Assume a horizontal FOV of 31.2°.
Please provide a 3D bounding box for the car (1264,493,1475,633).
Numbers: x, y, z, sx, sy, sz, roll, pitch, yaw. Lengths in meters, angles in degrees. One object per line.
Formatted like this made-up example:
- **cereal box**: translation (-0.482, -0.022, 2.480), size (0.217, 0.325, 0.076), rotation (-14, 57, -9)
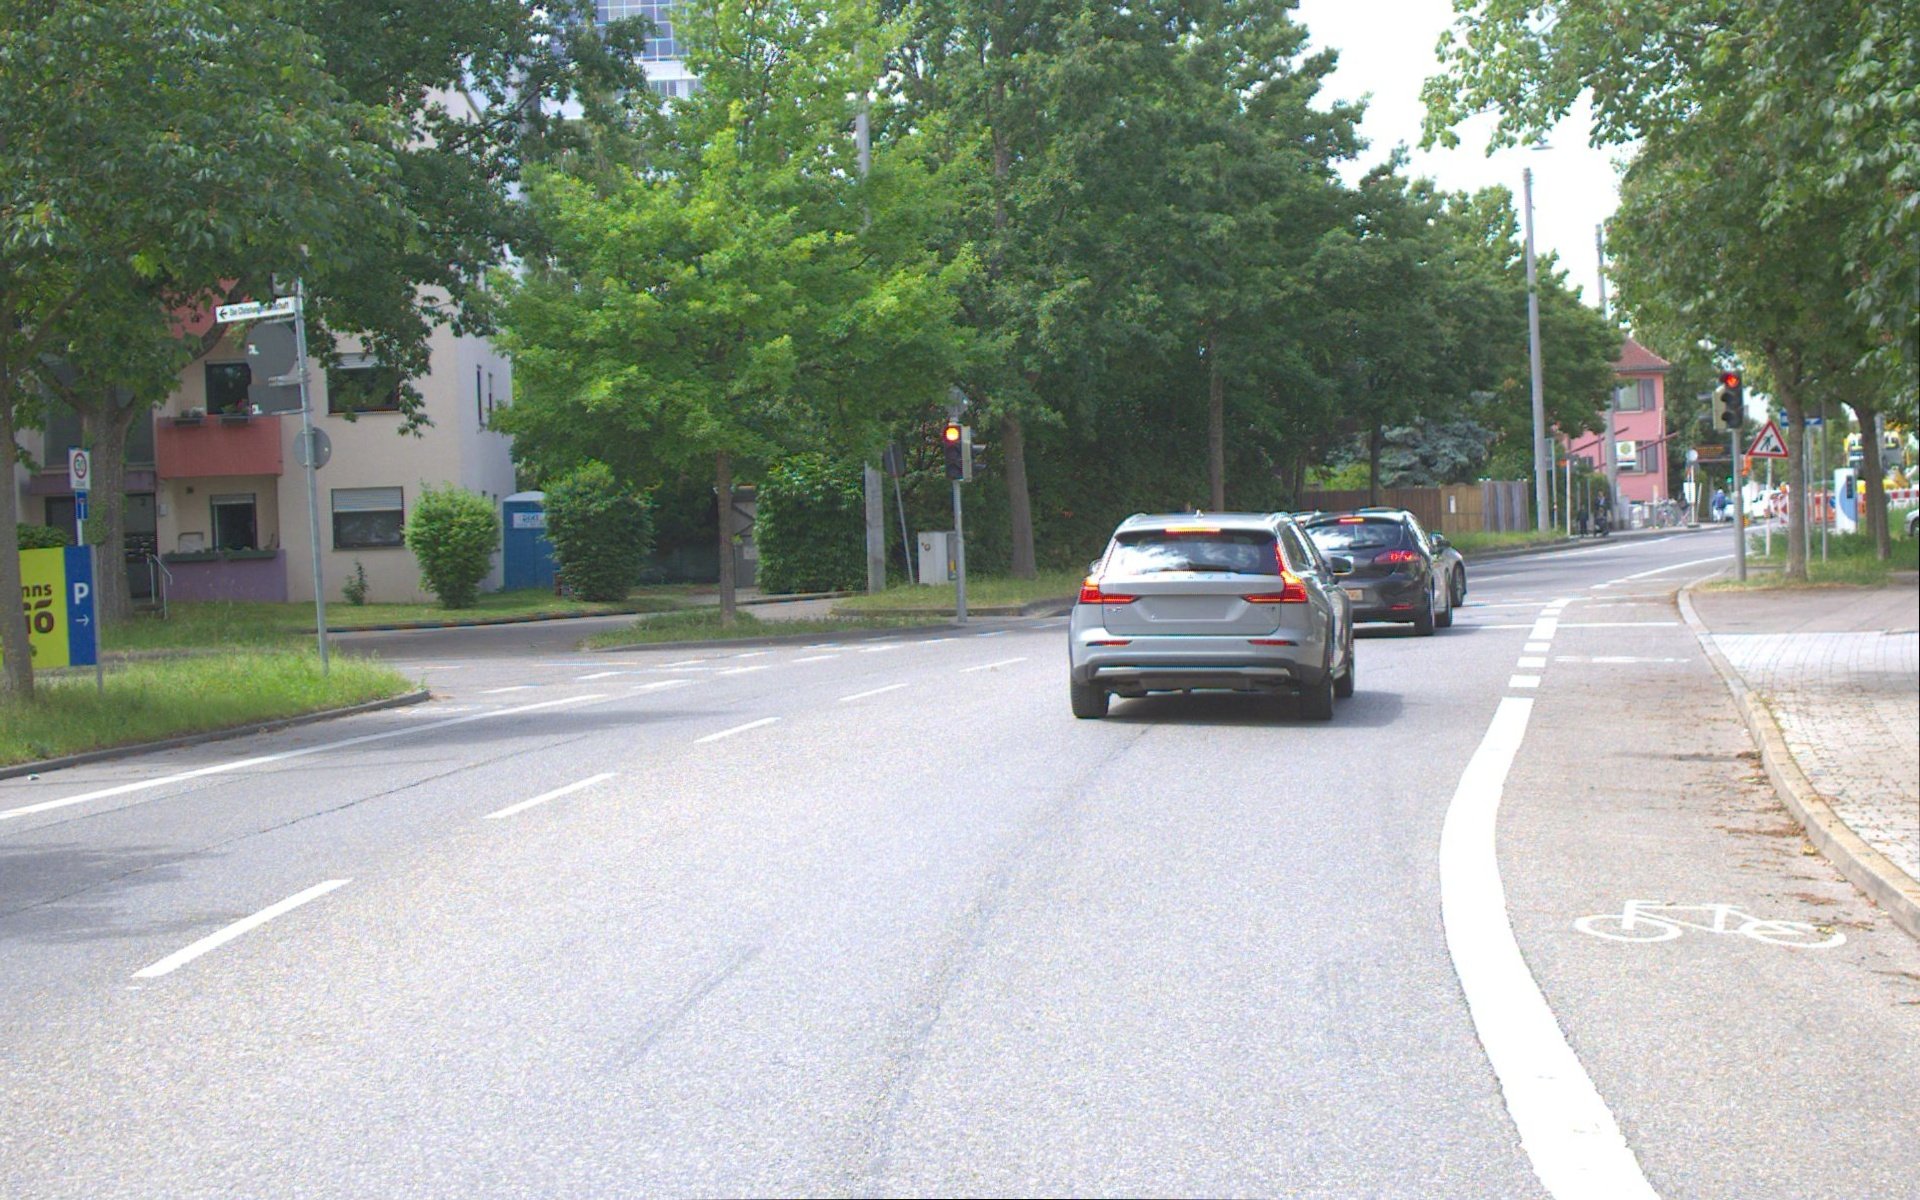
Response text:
- **car**: translation (4.873, -0.480, 40.443), size (1.805, 1.518, 4.326), rotation (2, 2, 15)

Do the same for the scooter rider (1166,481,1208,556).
- **scooter rider**: translation (5.298, -1.905, 80.198), size (0.705, 1.721, 0.680), rotation (-1, 0, -27)

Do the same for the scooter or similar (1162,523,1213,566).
- **scooter or similar**: translation (5.307, -1.295, 80.204), size (0.952, 0.958, 0.690), rotation (-2, 1, -29)

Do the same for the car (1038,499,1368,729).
- **car**: translation (1.912, 0.030, 25.712), size (1.957, 1.518, 4.327), rotation (2, 2, 10)

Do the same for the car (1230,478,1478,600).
- **car**: translation (5.640, -0.841, 48.795), size (1.807, 1.611, 4.321), rotation (2, 1, 31)
